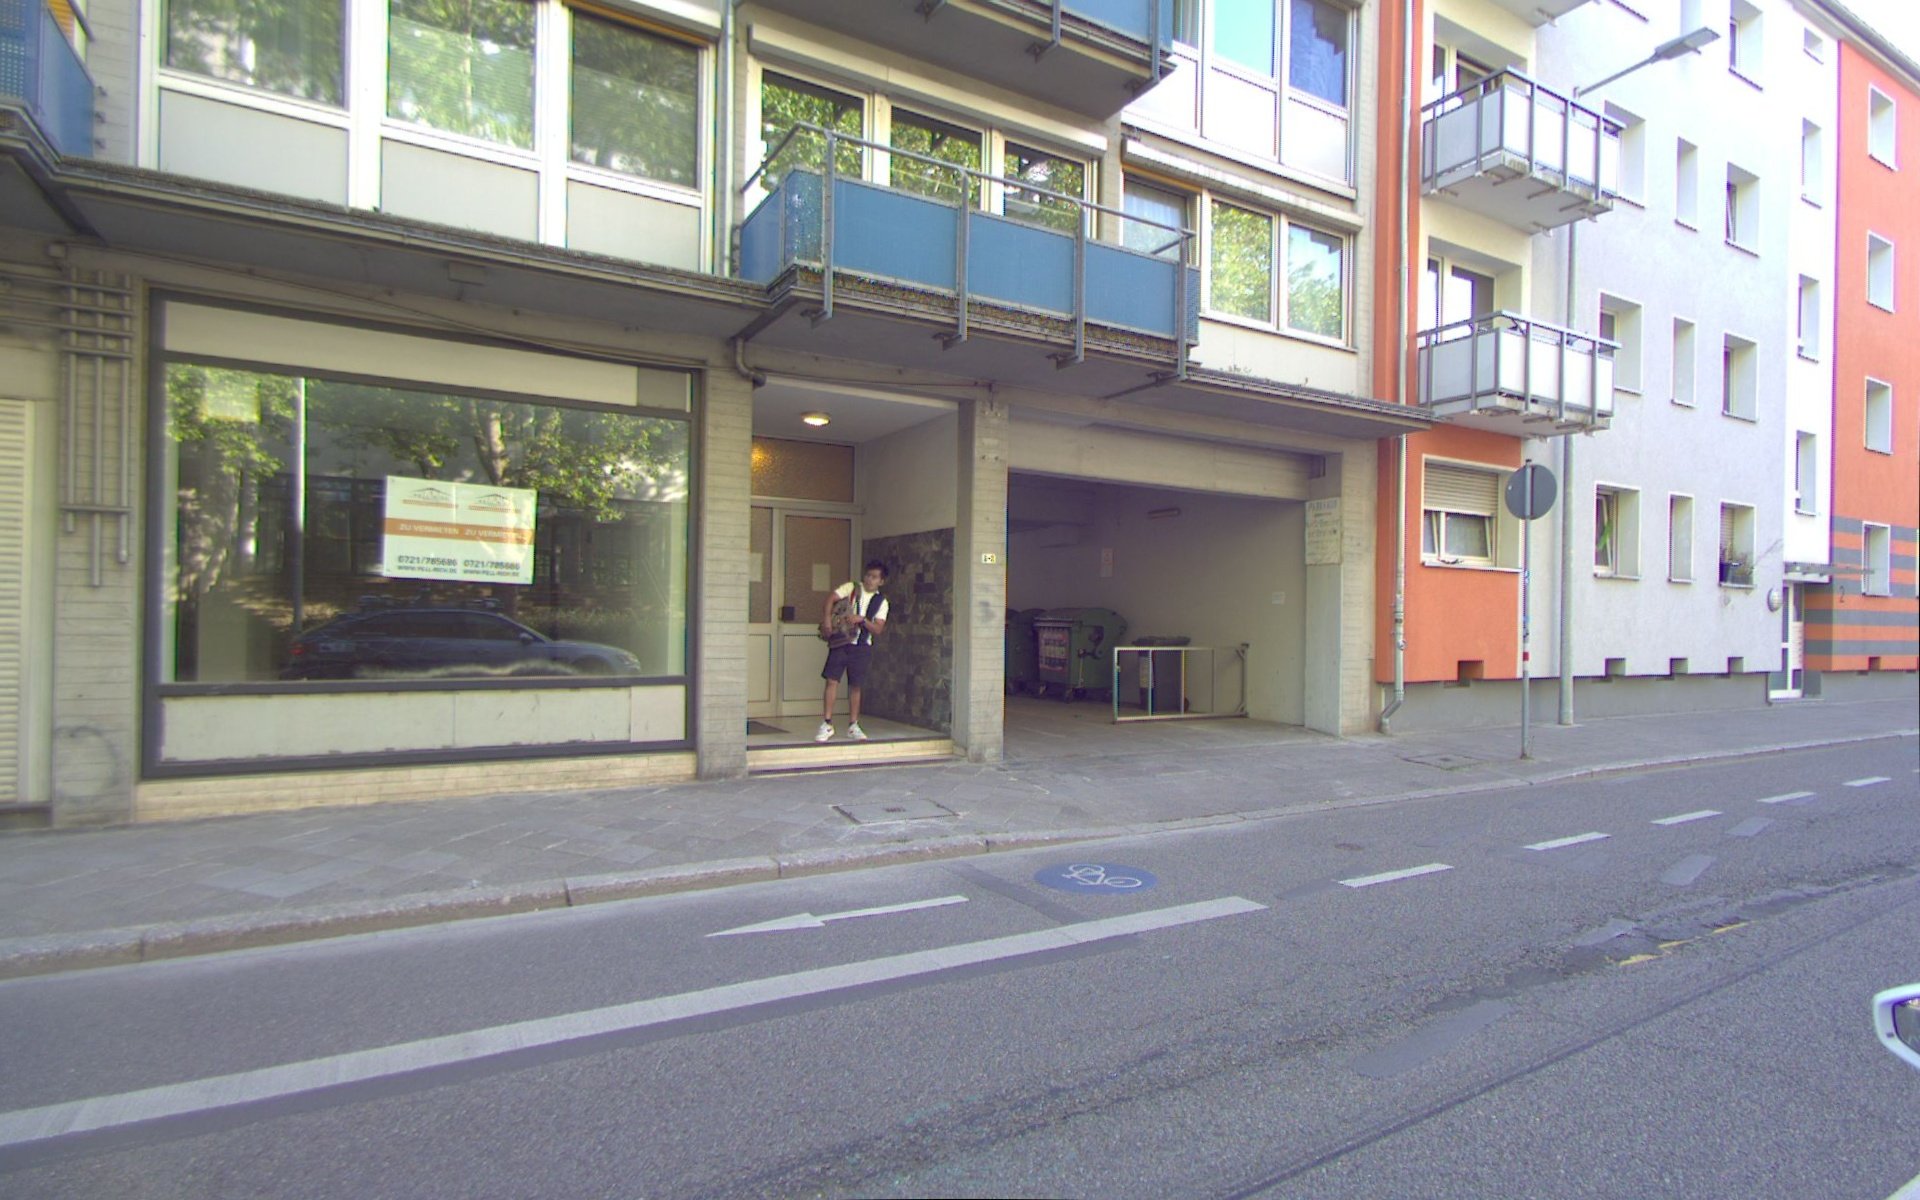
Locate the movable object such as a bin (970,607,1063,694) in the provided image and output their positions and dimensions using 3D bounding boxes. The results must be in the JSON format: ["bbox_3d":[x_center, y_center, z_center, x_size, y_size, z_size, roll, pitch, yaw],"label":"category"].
[{"bbox_3d":[0.948,0.842,17.124,1.066,1.384,1.255,2,0,-27],"label":"movable object such as a bin"}]

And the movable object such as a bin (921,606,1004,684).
[{"bbox_3d":[0.038,0.821,18.693,1.066,1.384,1.255,2,0,-27],"label":"movable object such as a bin"}]

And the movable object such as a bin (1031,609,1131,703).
[{"bbox_3d":[1.890,0.864,15.809,1.066,1.384,1.192,2,0,-27],"label":"movable object such as a bin"}]

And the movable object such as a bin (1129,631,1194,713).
[{"bbox_3d":[2.891,1.023,14.459,0.650,1.115,0.626,2,0,-27],"label":"movable object such as a bin"}]

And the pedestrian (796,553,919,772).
[{"bbox_3d":[-0.947,0.550,9.252,0.882,1.902,0.703,2,0,-28],"label":"pedestrian"}]

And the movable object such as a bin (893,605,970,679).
[{"bbox_3d":[-0.571,0.808,19.862,1.066,1.384,1.255,2,0,-27],"label":"movable object such as a bin"}]
